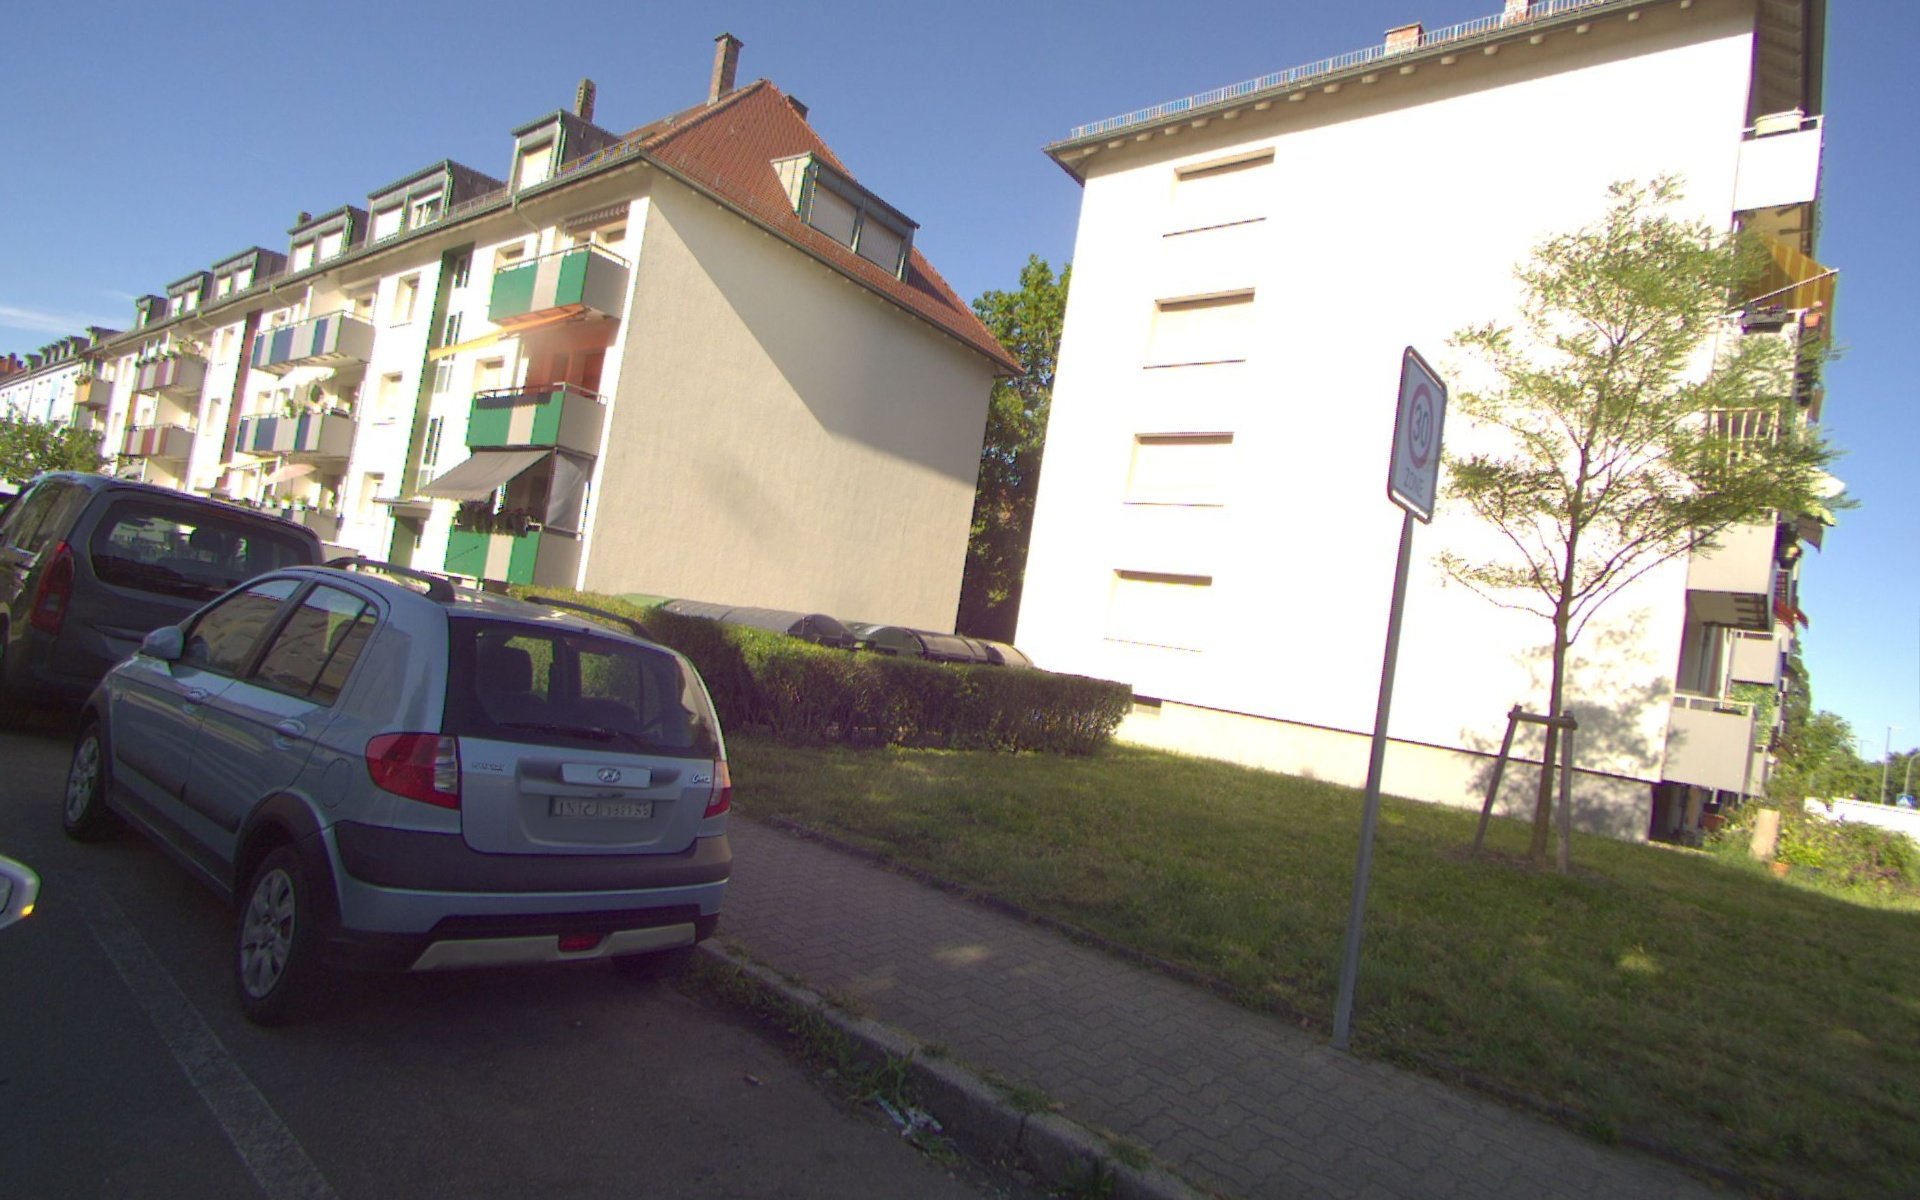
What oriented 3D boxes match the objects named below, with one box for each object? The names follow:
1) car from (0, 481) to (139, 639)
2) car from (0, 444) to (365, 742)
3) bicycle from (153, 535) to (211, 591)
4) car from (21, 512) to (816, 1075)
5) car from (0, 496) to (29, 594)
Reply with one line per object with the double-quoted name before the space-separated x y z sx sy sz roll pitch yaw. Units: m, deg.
"car" -12.128 -0.660 12.535 4.064 1.609 1.985 7 -4 39
"car" -6.783 -0.125 8.179 4.233 1.749 1.865 7 -4 40
"bicycle" -18.342 -0.885 23.691 1.873 1.104 0.559 7 -3 40
"car" -2.705 0.560 4.677 3.840 1.444 1.656 7 -4 37
"car" -16.372 -1.109 15.909 3.575 1.447 1.759 7 -4 39
